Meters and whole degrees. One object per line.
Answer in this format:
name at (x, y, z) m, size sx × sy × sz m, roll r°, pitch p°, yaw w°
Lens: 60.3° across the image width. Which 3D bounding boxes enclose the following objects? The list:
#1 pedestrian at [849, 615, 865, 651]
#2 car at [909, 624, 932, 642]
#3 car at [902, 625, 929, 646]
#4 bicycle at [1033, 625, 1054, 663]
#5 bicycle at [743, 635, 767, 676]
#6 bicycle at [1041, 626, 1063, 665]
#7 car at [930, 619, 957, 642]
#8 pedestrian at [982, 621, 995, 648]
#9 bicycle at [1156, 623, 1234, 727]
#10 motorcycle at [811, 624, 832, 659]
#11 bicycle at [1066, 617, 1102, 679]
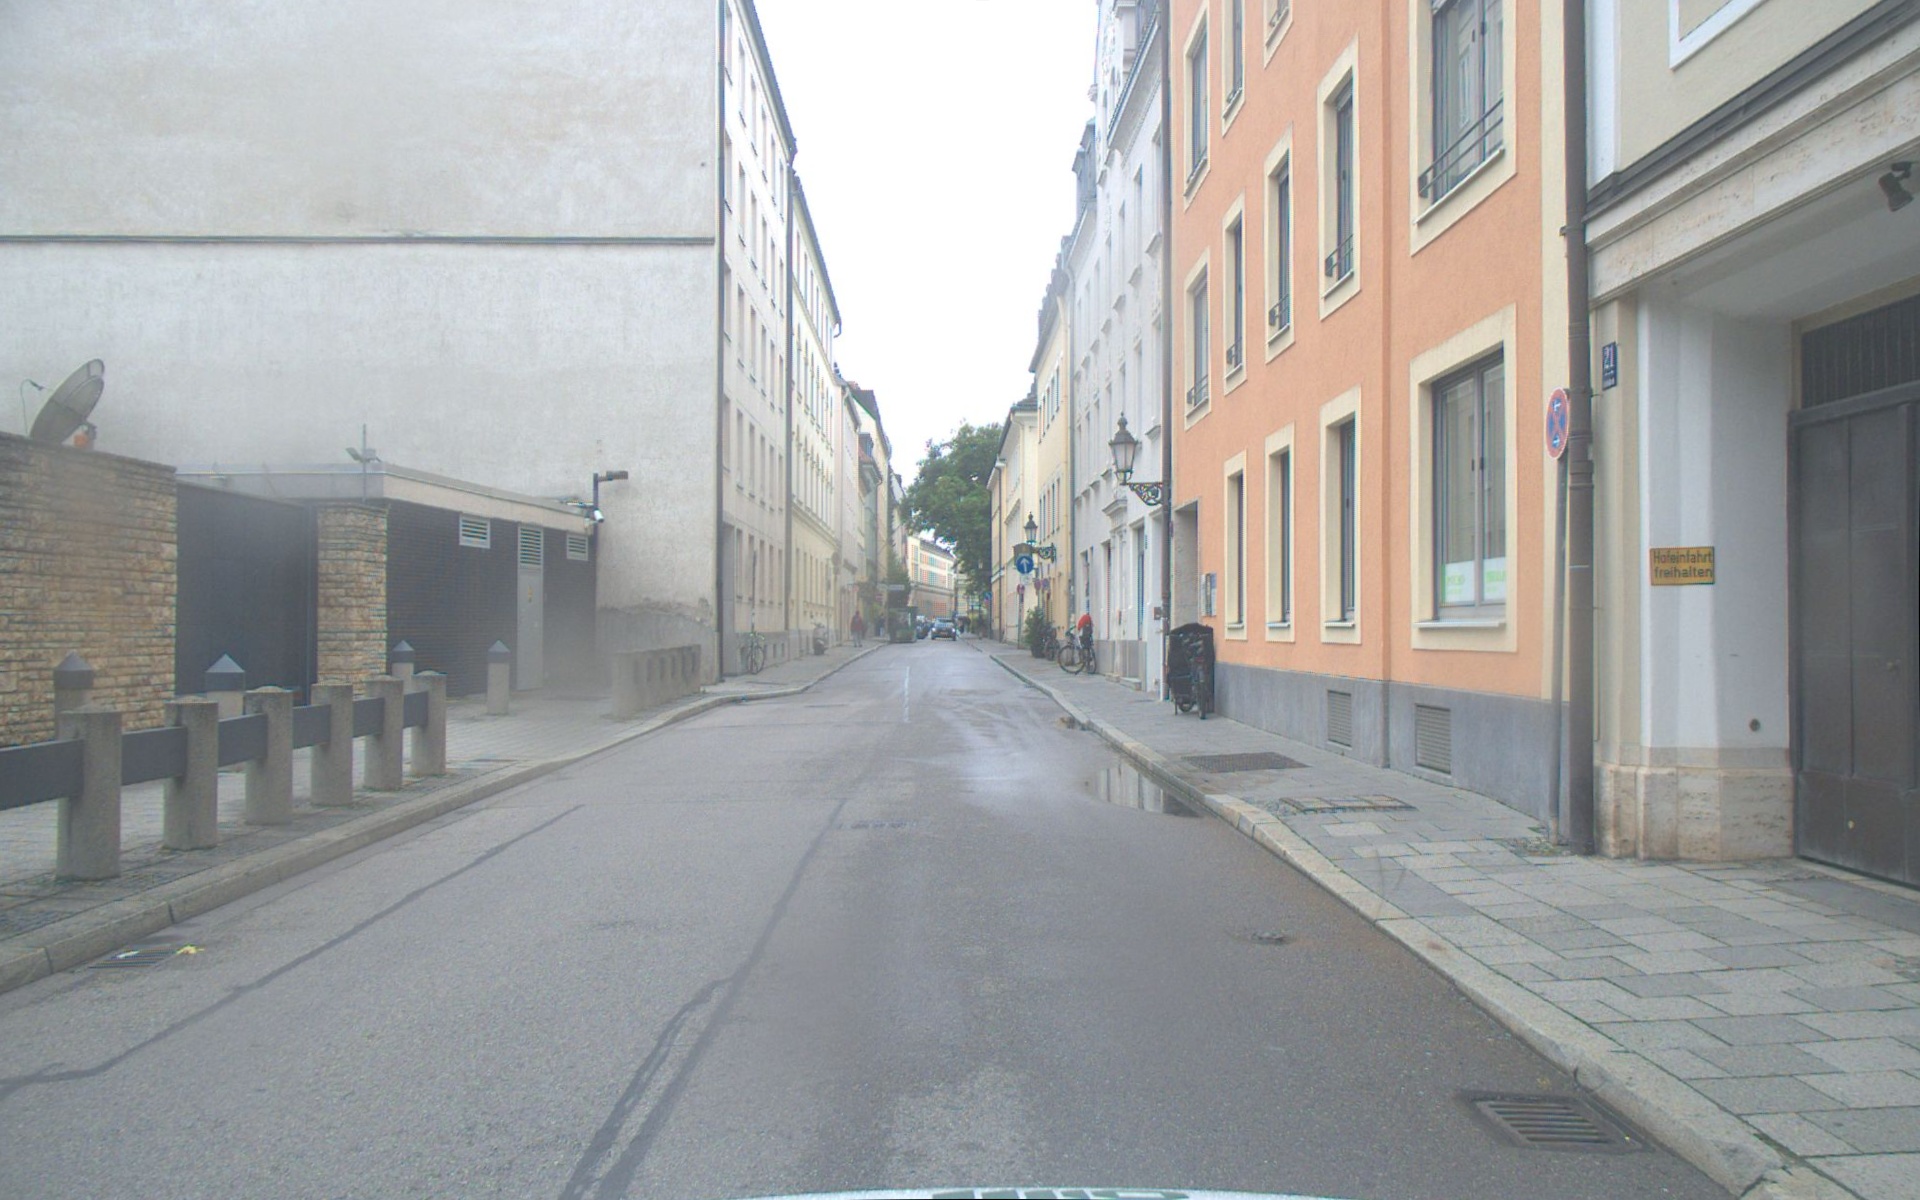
pedestrian at (-4.970, 1.573, 79.804) m, size 0.750 × 1.738 × 0.785 m, roll 0°, pitch -1°, yaw -3°
car at (-3.393, 2.852, 141.798) m, size 1.742 × 1.492 × 3.542 m, roll 1°, pitch -1°, yaw 2°
car at (-3.270, 2.635, 121.780) m, size 1.742 × 1.492 × 3.663 m, roll 1°, pitch -1°, yaw 2°
bicycle at (2.665, 1.389, 52.702) m, size 0.554 × 1.157 × 1.684 m, roll -2°, pitch -1°, yaw 0°
bicycle at (-4.969, 1.344, 40.216) m, size 0.313 × 0.960 × 1.574 m, roll 3°, pitch -1°, yaw 1°
bicycle at (2.803, 1.381, 50.485) m, size 0.554 × 1.157 × 1.987 m, roll -2°, pitch -1°, yaw 0°
car at (-1.199, 2.161, 117.510) m, size 1.776 × 1.622 × 3.998 m, roll 0°, pitch -1°, yaw -2°
pedestrian at (1.939, 2.369, 113.280) m, size 0.862 × 1.834 × 1.046 m, roll 1°, pitch -1°, yaw 0°
bicycle at (3.163, 0.981, 22.466) m, size 0.665 × 1.261 × 2.382 m, roll -4°, pitch 0°, yaw 1°
motorcycle at (-4.888, 1.447, 58.423) m, size 0.590 × 1.194 × 1.708 m, roll 1°, pitch -1°, yaw 0°
bicycle at (2.934, 1.121, 39.405) m, size 0.698 × 1.420 × 2.122 m, roll -2°, pitch -1°, yaw 2°
